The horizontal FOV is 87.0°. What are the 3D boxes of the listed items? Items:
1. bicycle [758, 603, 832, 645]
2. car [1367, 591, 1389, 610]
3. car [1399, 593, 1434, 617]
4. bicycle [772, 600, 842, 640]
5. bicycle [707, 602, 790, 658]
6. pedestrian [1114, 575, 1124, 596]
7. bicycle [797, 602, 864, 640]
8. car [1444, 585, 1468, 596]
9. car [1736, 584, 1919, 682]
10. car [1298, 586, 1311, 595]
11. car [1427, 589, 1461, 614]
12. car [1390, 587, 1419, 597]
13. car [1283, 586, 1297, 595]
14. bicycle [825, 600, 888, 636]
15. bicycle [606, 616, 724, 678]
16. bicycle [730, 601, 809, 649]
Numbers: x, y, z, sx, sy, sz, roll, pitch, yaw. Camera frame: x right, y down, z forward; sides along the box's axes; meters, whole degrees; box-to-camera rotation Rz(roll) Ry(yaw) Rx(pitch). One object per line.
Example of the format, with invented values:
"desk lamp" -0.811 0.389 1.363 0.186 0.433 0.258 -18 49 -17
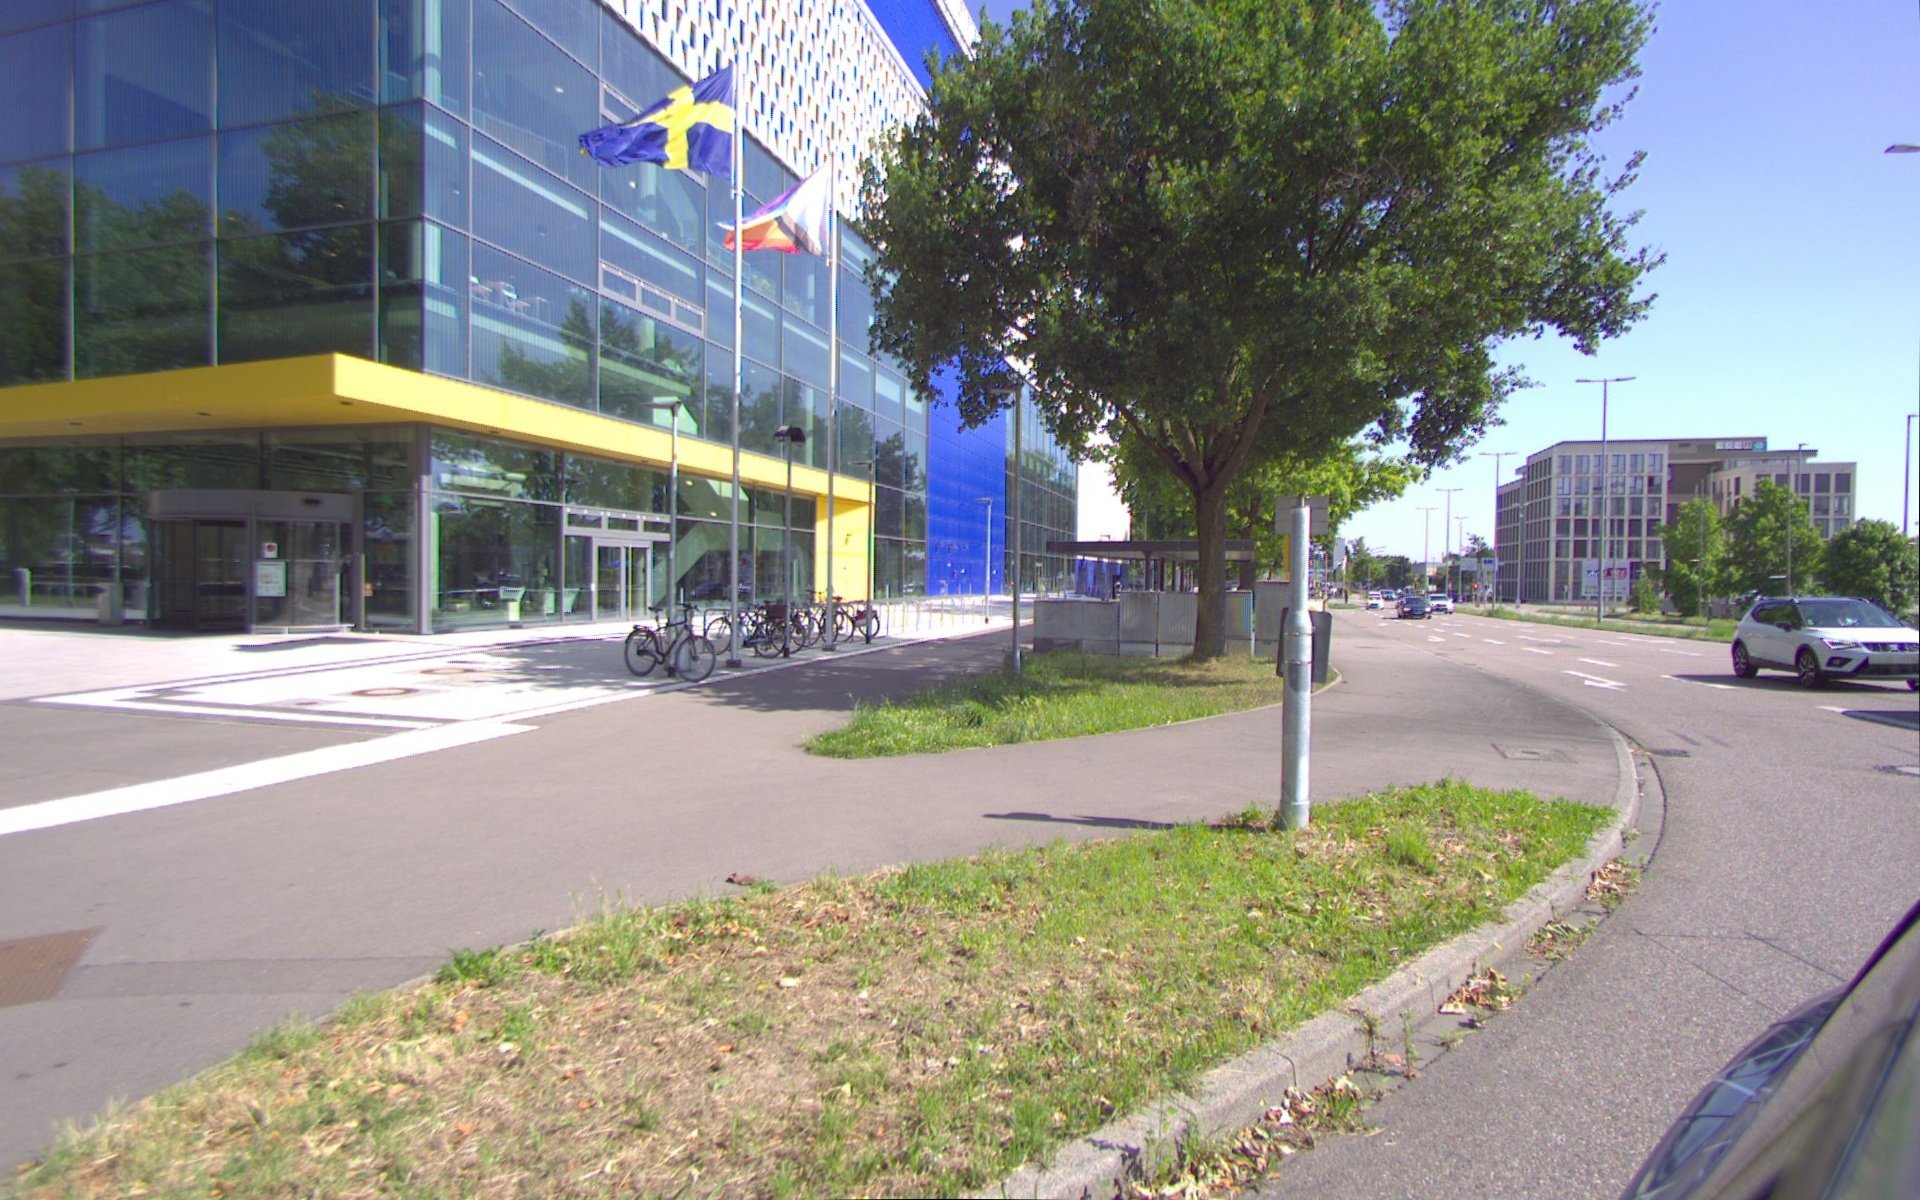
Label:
"bicycle" -3.516 0.508 21.519 1.547 0.854 0.431 1 0 21
"car" 42.994 0.025 104.132 1.810 1.733 3.746 0 2 18
"car" 31.307 0.311 69.482 1.748 1.482 4.216 0 2 18
"bicycle" -3.454 0.441 22.783 1.547 0.854 0.431 1 0 21
"bicycle" -3.965 0.545 18.975 1.547 1.007 0.431 1 0 21
"pedestrian" 12.508 -1.171 79.753 0.680 1.632 0.768 1 0 15
"bicycle" -3.037 0.477 23.665 1.547 0.854 0.431 1 0 21
"car" 96.624 -1.919 197.142 3.981 2.039 1.972 2 1 40
"car" 15.328 0.563 17.626 1.614 1.517 3.846 0 -2 18
"car" 59.776 -1.690 175.693 1.868 1.478 3.970 1 2 23
"car" 39.603 0.100 82.929 2.000 1.860 4.287 0 2 18
"car" 75.865 -1.376 172.854 4.426 1.607 1.967 1 1 20
"car" 57.435 -1.694 176.328 1.978 1.479 3.969 1 1 23
"bicycle" -2.584 0.437 25.251 1.547 0.854 0.431 1 0 21
"bicycle" -4.415 0.680 15.114 1.812 0.854 0.431 1 0 21
"bicycle" -3.794 0.486 20.145 1.547 0.921 0.431 1 0 21
